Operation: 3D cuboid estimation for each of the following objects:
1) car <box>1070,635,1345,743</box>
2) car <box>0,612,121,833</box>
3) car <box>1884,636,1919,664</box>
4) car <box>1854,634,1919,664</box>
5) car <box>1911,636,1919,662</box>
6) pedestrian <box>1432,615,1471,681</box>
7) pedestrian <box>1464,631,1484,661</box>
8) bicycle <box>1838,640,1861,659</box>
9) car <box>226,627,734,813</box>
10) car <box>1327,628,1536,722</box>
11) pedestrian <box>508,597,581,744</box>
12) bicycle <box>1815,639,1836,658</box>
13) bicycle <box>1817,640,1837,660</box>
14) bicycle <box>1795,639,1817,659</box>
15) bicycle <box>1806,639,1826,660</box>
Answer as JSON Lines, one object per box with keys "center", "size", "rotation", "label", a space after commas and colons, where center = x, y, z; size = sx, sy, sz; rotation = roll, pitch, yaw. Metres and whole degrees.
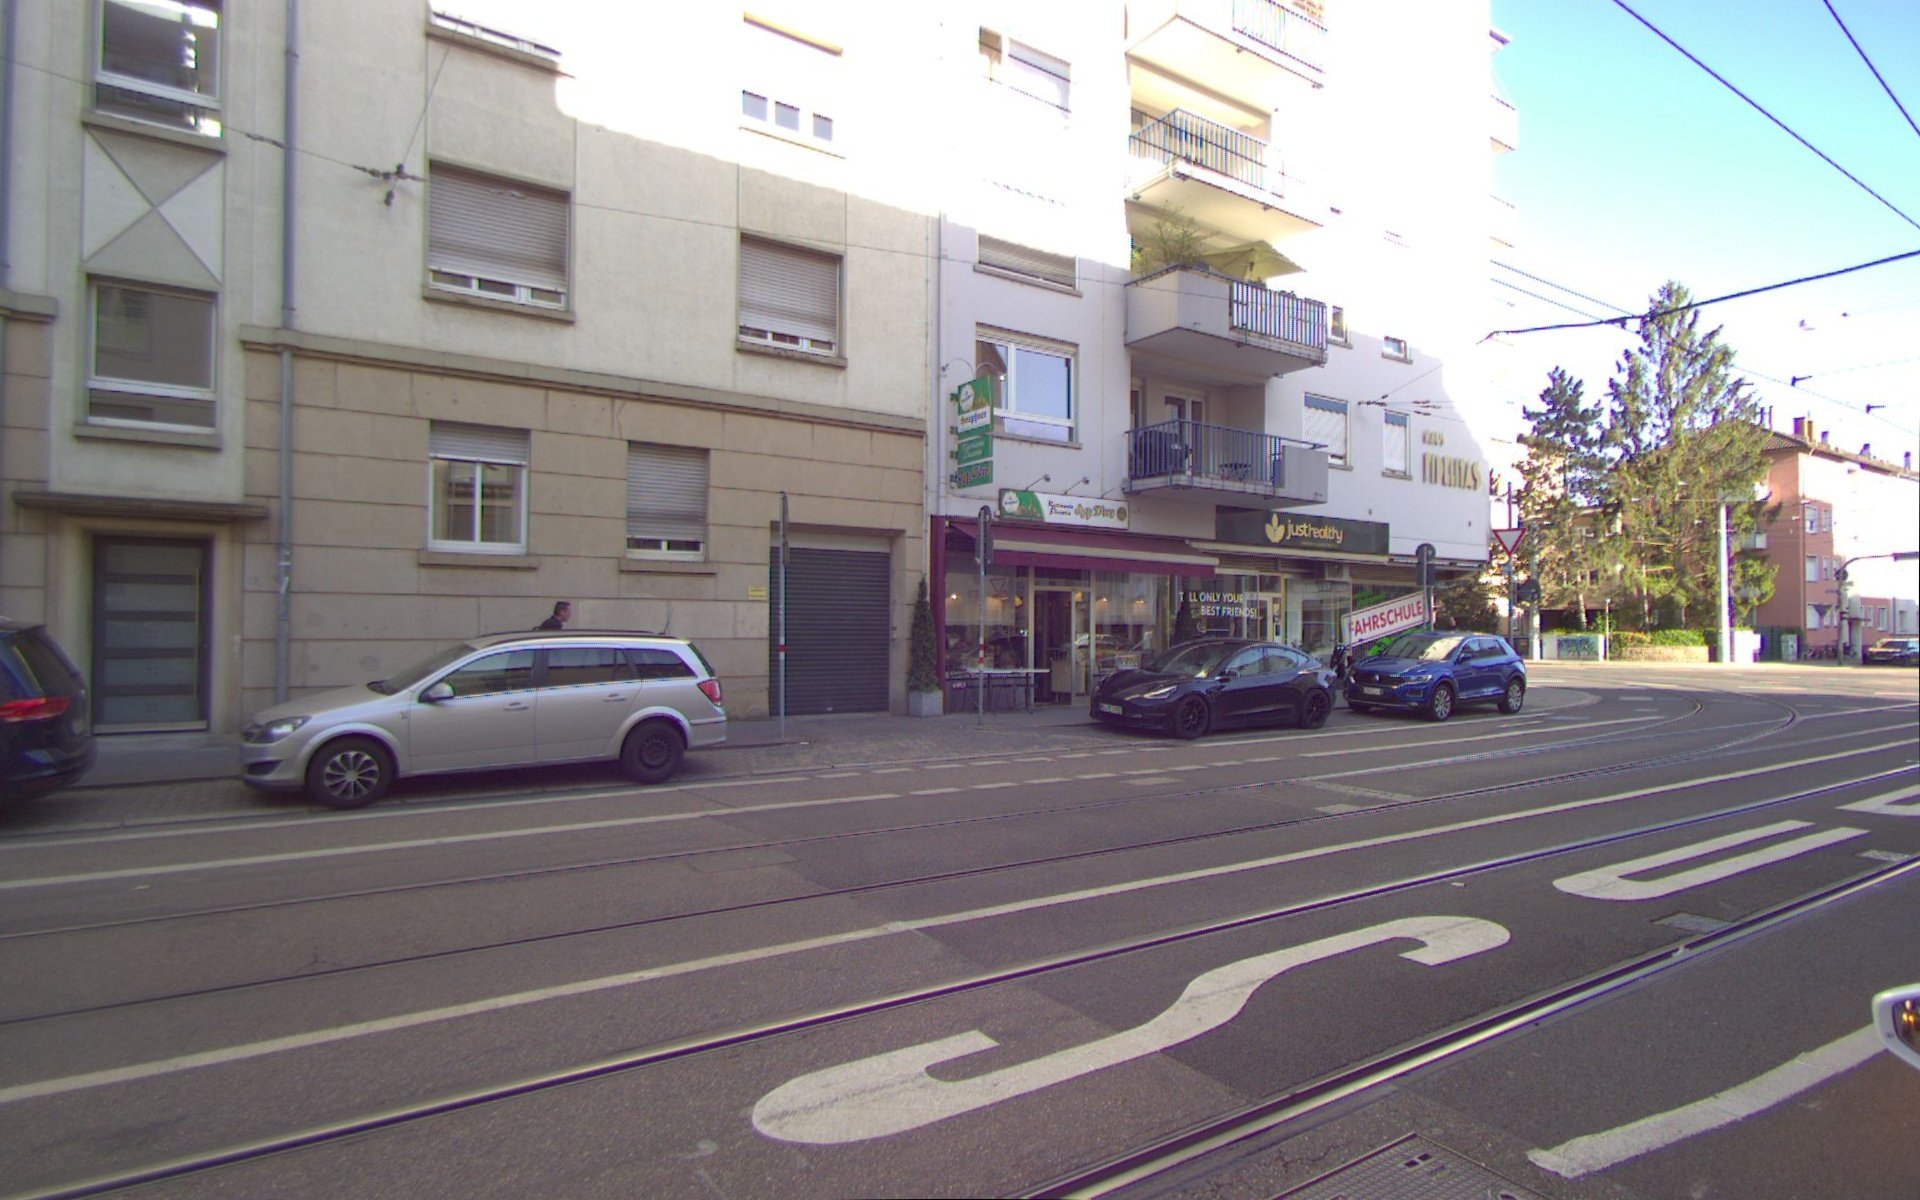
{"center": [4.018, 1.315, 16.046], "size": [4.442, 1.422, 1.714], "rotation": [1, 1, -34], "label": "car"}
{"center": [-8.988, 0.880, 7.195], "size": [4.343, 1.620, 1.785], "rotation": [1, -1, -34], "label": "car"}
{"center": [54.280, 2.837, 57.018], "size": [4.006, 1.539, 1.938], "rotation": [1, -2, -36], "label": "car"}
{"center": [49.731, 2.613, 53.788], "size": [3.961, 1.539, 1.938], "rotation": [1, -2, -36], "label": "car"}
{"center": [58.134, 2.894, 59.457], "size": [3.961, 1.539, 1.938], "rotation": [1, -2, -36], "label": "car"}
{"center": [14.017, 1.351, 28.676], "size": [0.707, 1.859, 0.771], "rotation": [0, -1, -3], "label": "pedestrian"}
{"center": [30.383, 2.715, 59.399], "size": [0.672, 1.725, 0.805], "rotation": [1, -2, -30], "label": "pedestrian"}
{"center": [53.164, 2.934, 60.030], "size": [1.892, 1.097, 0.605], "rotation": [1, -2, -37], "label": "bicycle"}
{"center": [-4.701, 1.050, 10.217], "size": [4.343, 1.497, 1.785], "rotation": [1, -1, -34], "label": "car"}
{"center": [8.998, 1.345, 19.088], "size": [4.072, 1.525, 1.714], "rotation": [1, 1, -34], "label": "car"}
{"center": [-5.105, 0.844, 12.330], "size": [0.722, 1.731, 0.600], "rotation": [1, -2, -32], "label": "pedestrian"}
{"center": [50.747, 2.856, 58.886], "size": [1.892, 1.097, 0.533], "rotation": [1, -2, -37], "label": "bicycle"}
{"center": [47.612, 2.743, 55.170], "size": [1.895, 1.097, 0.532], "rotation": [2, -2, -41], "label": "bicycle"}
{"center": [46.889, 2.721, 55.637], "size": [1.895, 1.097, 0.634], "rotation": [2, -2, -41], "label": "bicycle"}
{"center": [47.184, 2.731, 55.345], "size": [1.895, 1.097, 0.532], "rotation": [2, -2, -41], "label": "bicycle"}
